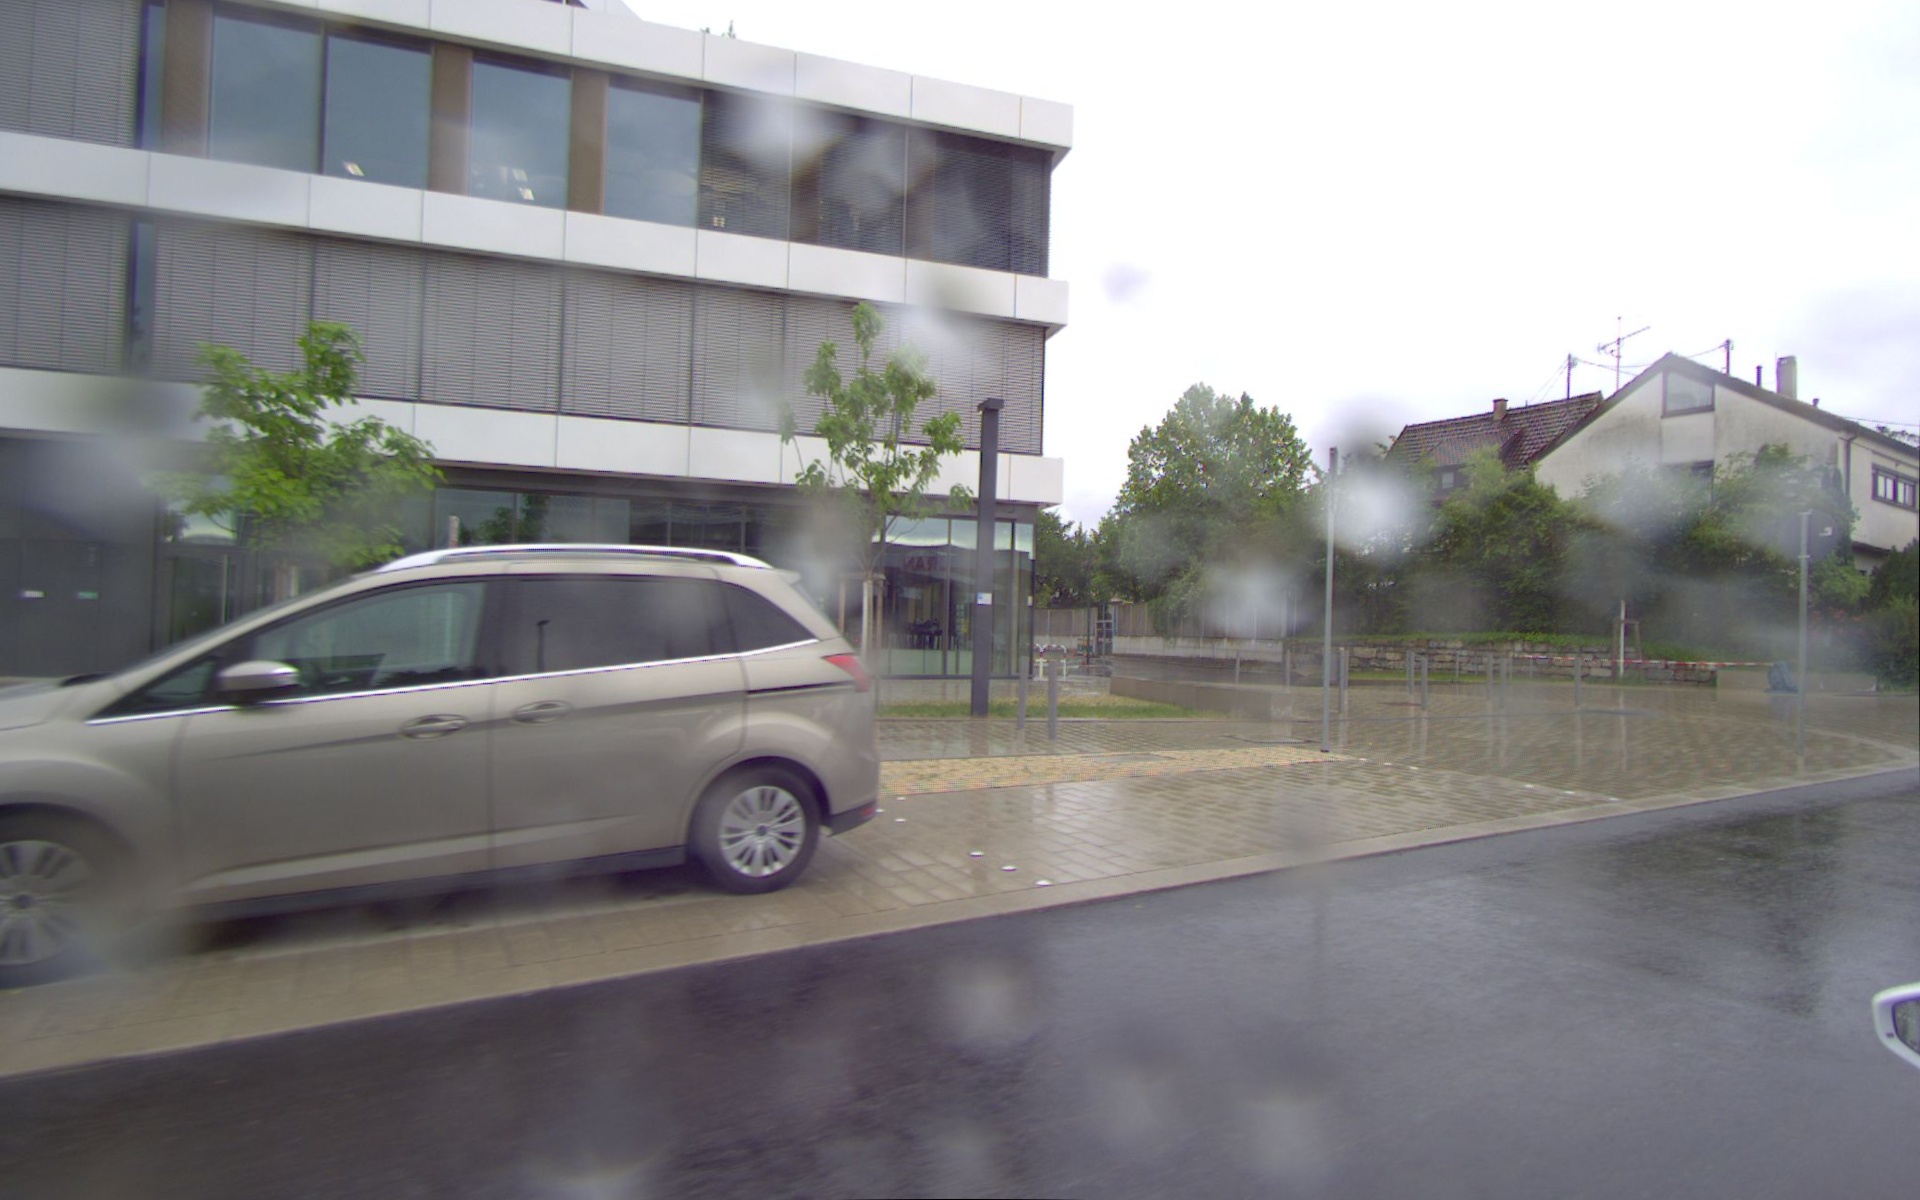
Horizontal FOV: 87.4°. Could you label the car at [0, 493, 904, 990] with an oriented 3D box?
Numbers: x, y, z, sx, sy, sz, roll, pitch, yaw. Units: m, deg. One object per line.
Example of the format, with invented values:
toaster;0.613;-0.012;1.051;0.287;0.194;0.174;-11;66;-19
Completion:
car;-2.592;0.527;4.966;4.271;1.728;1.829;1;-1;-29
